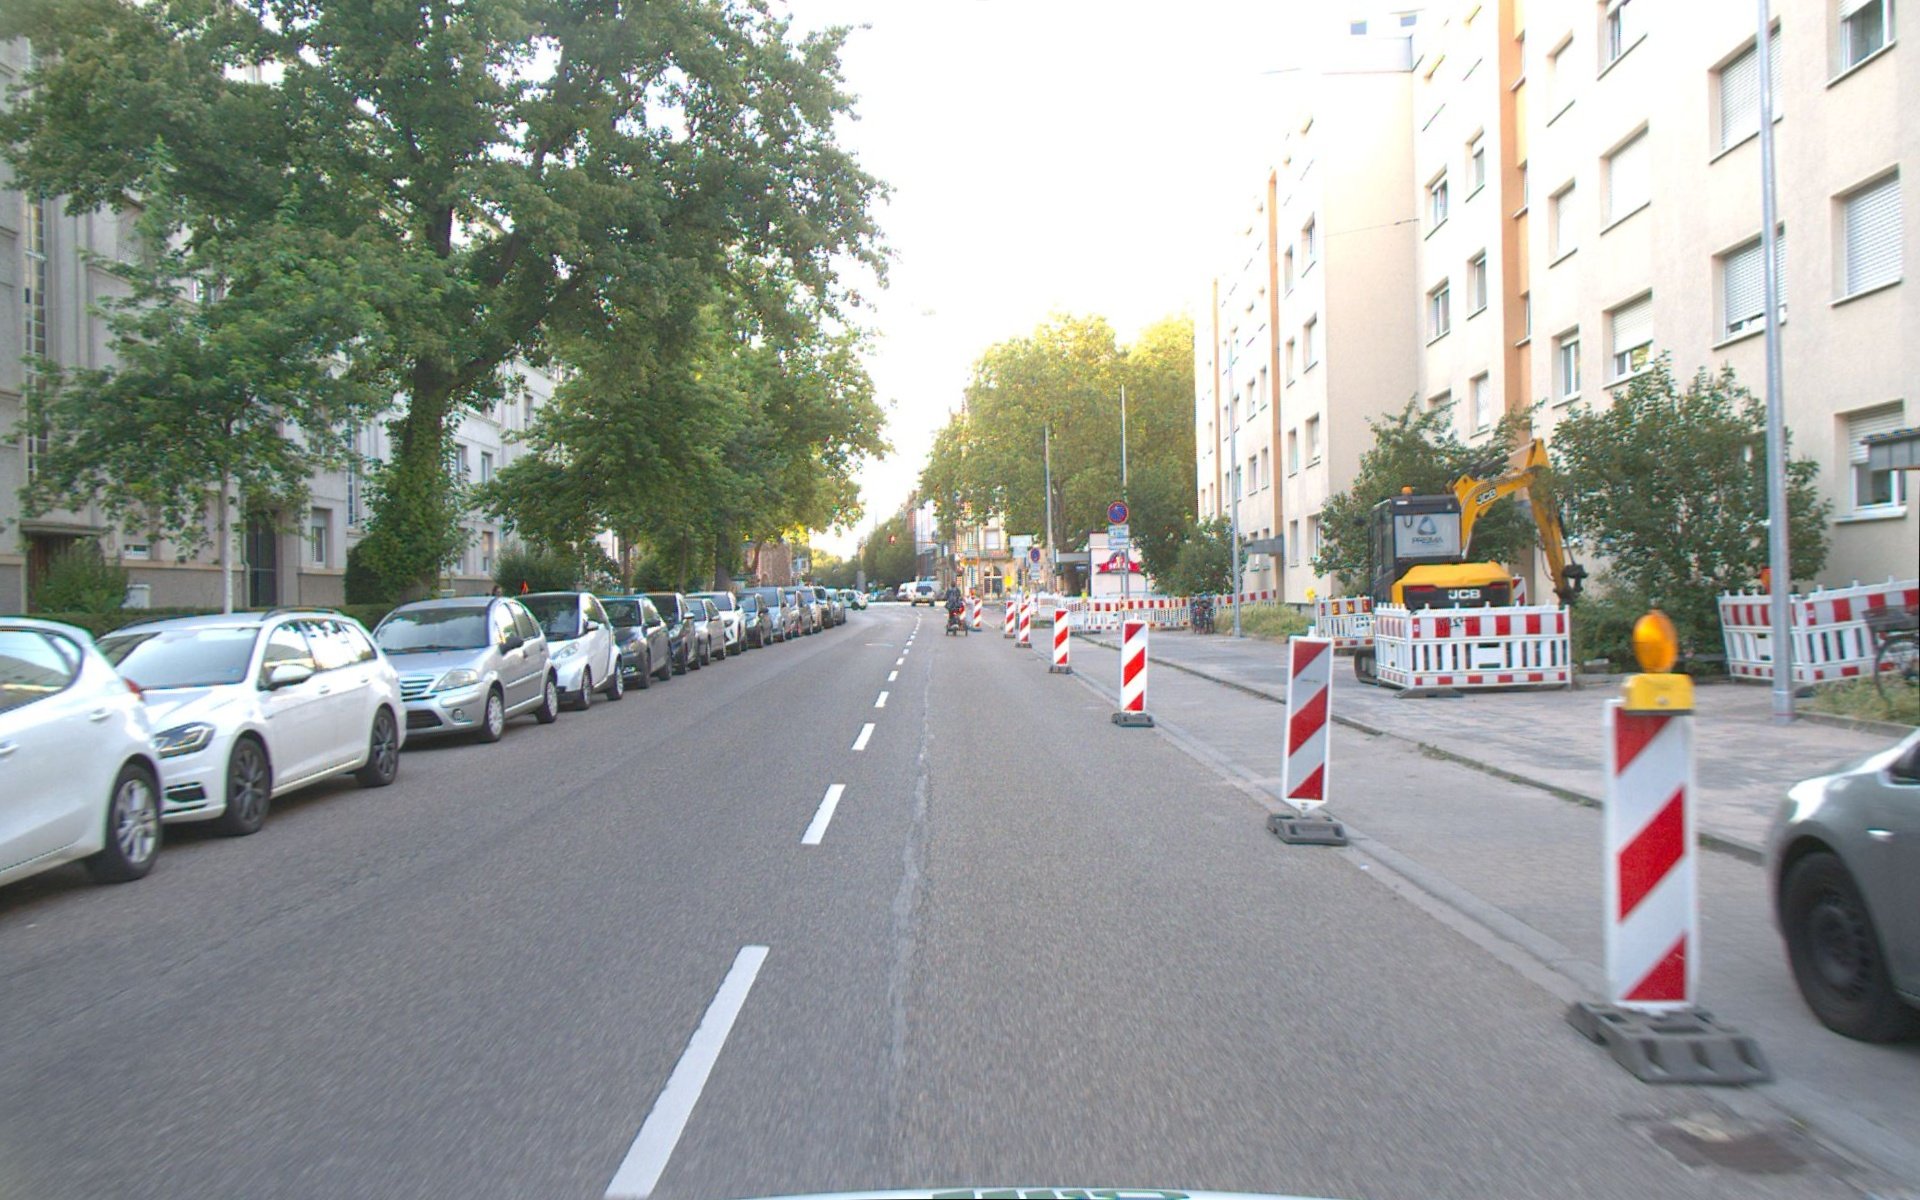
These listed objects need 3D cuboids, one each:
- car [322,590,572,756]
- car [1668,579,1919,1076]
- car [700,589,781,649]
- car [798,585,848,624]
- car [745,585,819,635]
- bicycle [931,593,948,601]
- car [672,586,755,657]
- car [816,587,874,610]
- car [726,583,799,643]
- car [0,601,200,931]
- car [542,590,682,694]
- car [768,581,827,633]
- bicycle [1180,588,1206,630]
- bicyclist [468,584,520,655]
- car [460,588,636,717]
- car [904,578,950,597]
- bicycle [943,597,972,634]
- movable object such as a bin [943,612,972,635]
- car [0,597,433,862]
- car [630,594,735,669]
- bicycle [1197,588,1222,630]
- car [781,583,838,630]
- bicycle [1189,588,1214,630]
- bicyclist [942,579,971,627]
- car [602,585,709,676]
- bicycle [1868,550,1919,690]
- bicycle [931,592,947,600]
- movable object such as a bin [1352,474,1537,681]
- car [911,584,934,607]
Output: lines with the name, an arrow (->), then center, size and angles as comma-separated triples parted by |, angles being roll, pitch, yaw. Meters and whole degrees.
car -> -5.544, 0.715, 18.328 | 1.558, 1.531, 3.798 | -4, 0, -1
car -> 3.872, 0.694, 4.621 | 1.740, 1.516, 4.573 | -5, 0, 0
car -> -6.009, 0.497, 45.639 | 1.673, 1.477, 3.842 | -4, 0, -1
car -> -6.226, 0.175, 75.412 | 1.914, 1.645, 4.604 | -3, 0, -1
car -> -5.859, 0.300, 54.864 | 1.696, 1.523, 4.272 | -3, 0, 3
bicycle -> -2.419, -0.341, 195.552 | 1.876, 0.985, 0.545 | -1, 0, -3
car -> -6.097, 0.501, 41.242 | 1.559, 1.565, 4.204 | -4, 0, -3
car -> -8.763, -0.126, 125.831 | 3.904, 1.613, 1.872 | -2, 0, 21
car -> -5.938, 0.376, 50.058 | 1.673, 1.628, 4.116 | -4, 0, -1
car -> -5.206, 0.810, 7.517 | 1.659, 1.485, 4.143 | -4, 0, -3
car -> -5.709, 0.648, 27.562 | 1.558, 1.492, 4.100 | -4, 0, -3
car -> -5.895, 0.243, 60.325 | 1.810, 1.720, 4.856 | -3, 0, -3
bicycle -> 7.081, 0.268, 50.304 | 0.442, 1.243, 1.910 | -1, 0, -3
bicyclist -> -9.537, 0.390, 33.858 | 0.792, 1.428, 0.973 | 0, 0, -1
car -> -5.599, 0.672, 22.793 | 1.557, 1.555, 2.922 | -4, 0, 1
car -> -3.959, -1.544, 201.756 | 5.779, 2.328, 2.039 | -1, 0, -44
bicycle -> -0.083, 0.536, 57.456 | 0.920, 1.192, 2.359 | -4, 0, 0
movable object such as a bin -> -0.081, 0.775, 55.777 | 0.920, 0.701, 0.993 | -4, 0, 0
car -> -5.399, 0.781, 12.083 | 1.658, 1.485, 4.482 | -4, 0, -1
car -> -5.962, 0.632, 35.928 | 1.558, 1.428, 4.180 | -4, 0, -1
bicycle -> 7.595, 0.271, 50.338 | 0.390, 1.243, 1.825 | -1, 0, -3
car -> -6.114, 0.230, 67.575 | 1.914, 1.749, 4.769 | -3, 0, -2
bicycle -> 7.348, 0.270, 50.400 | 0.390, 1.243, 1.910 | -1, 0, -3
bicyclist -> -0.111, 0.095, 57.470 | 0.920, 1.609, 1.146 | -3, 0, 0
car -> -5.808, 0.554, 31.827 | 1.493, 1.555, 3.163 | -4, 0, -2
bicycle -> 9.131, 0.170, 15.027 | 1.562, 1.243, 0.484 | -1, 0, -8
bicycle -> -2.442, -0.458, 195.272 | 1.876, 0.985, 0.545 | -1, 0, -3
movable object such as a bin -> 6.816, -0.309, 23.548 | 1.893, 2.740, 2.893 | -1, 0, 4
car -> -3.204, -0.395, 139.414 | 1.829, 1.846, 3.998 | -2, 0, -2
